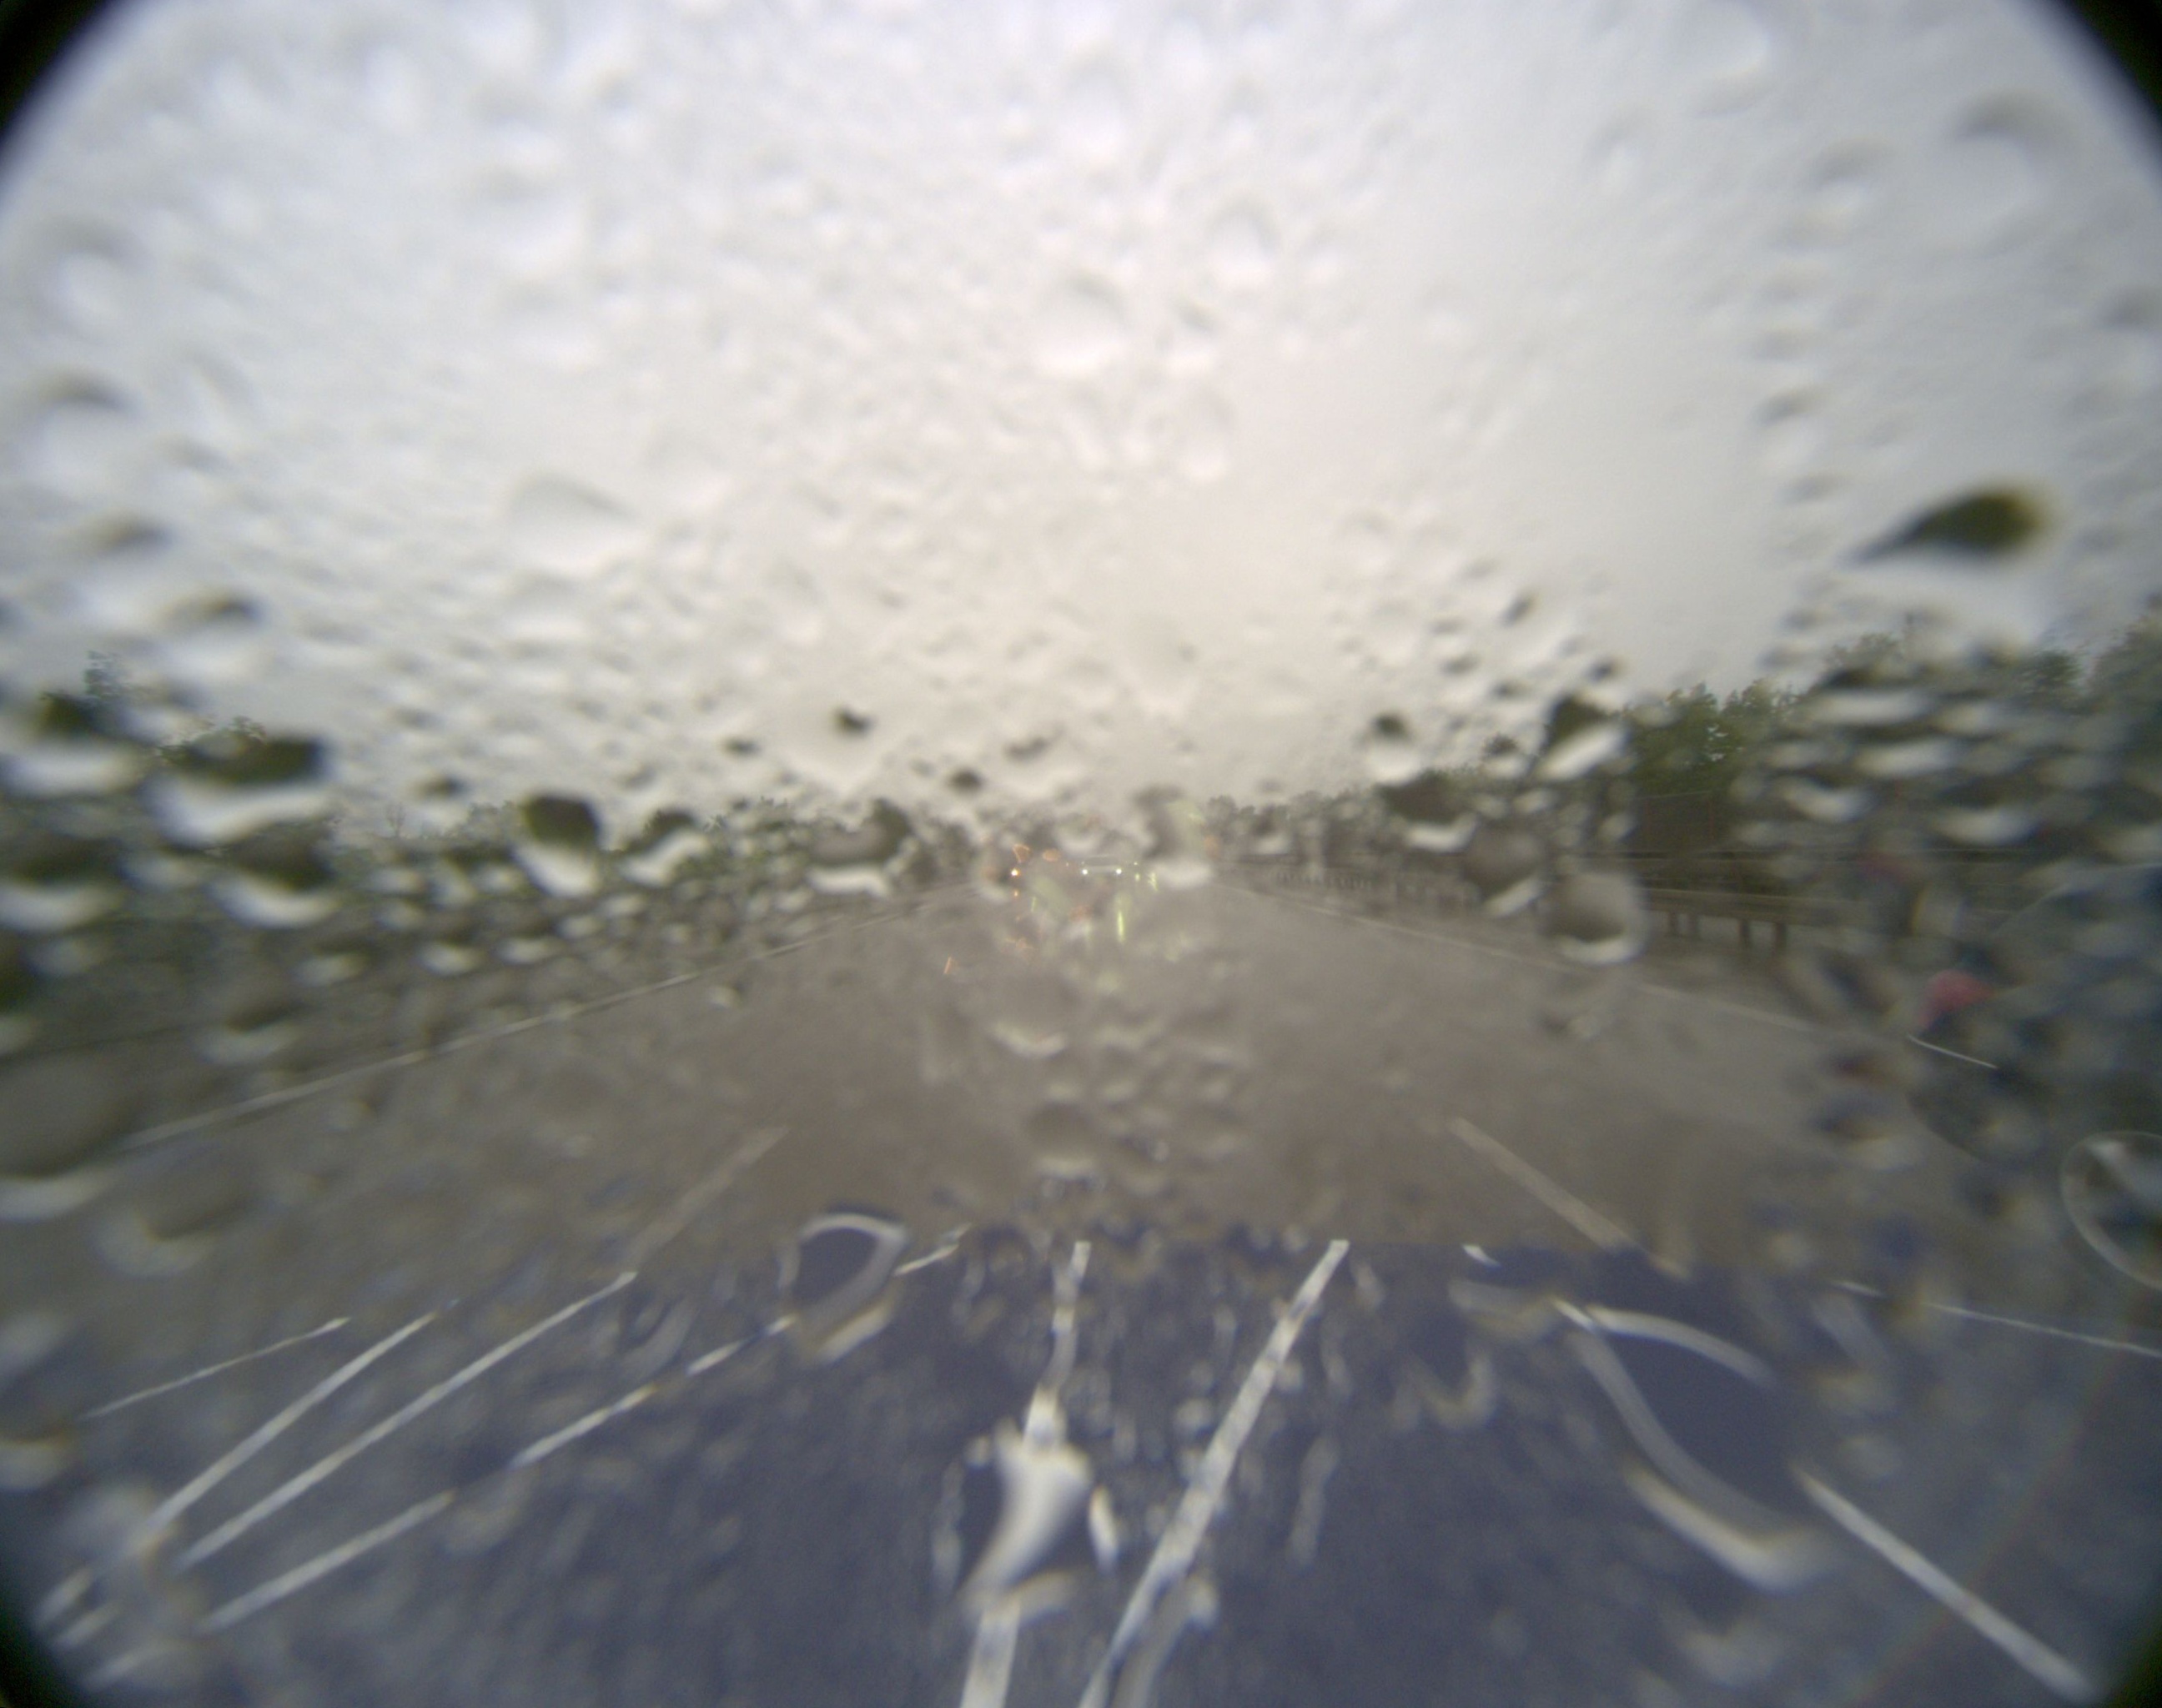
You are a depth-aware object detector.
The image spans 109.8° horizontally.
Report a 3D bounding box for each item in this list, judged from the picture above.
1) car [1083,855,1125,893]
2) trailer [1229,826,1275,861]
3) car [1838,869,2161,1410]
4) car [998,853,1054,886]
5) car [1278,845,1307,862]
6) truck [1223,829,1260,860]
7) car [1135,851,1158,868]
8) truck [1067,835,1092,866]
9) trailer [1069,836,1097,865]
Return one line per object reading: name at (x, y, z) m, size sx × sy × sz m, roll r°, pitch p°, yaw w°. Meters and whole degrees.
car at (1.083, 0.852, 33.974) m, size 1.751 × 1.545 × 4.091 m, roll -2°, pitch 0°, yaw 3°
trailer at (24.617, -1.443, 110.187) m, size 3.879 × 4.668 × 12.244 m, roll -2°, pitch 0°, yaw 1°
car at (4.046, 0.800, 0.456) m, size 2.059 × 1.476 × 5.158 m, roll -2°, pitch 0°, yaw 1°
car at (-3.119, 0.838, 44.411) m, size 2.463 × 1.735 × 5.720 m, roll -2°, pitch 0°, yaw 4°
car at (22.512, -0.056, 81.111) m, size 1.998 × 1.724 × 4.000 m, roll -2°, pitch 0°, yaw 2°
truck at (24.811, -1.396, 117.902) m, size 3.845 × 4.612 × 9.493 m, roll -2°, pitch 0°, yaw 1°
car at (6.052, 0.495, 70.823) m, size 1.900 × 1.533 × 4.090 m, roll -2°, pitch 0°, yaw 2°
truck at (-0.162, -0.416, 104.070) m, size 2.754 × 4.054 × 6.485 m, roll -1°, pitch 0°, yaw 5°
trailer at (0.422, -0.470, 110.748) m, size 2.750 × 3.940 × 14.134 m, roll -2°, pitch 0°, yaw 5°
